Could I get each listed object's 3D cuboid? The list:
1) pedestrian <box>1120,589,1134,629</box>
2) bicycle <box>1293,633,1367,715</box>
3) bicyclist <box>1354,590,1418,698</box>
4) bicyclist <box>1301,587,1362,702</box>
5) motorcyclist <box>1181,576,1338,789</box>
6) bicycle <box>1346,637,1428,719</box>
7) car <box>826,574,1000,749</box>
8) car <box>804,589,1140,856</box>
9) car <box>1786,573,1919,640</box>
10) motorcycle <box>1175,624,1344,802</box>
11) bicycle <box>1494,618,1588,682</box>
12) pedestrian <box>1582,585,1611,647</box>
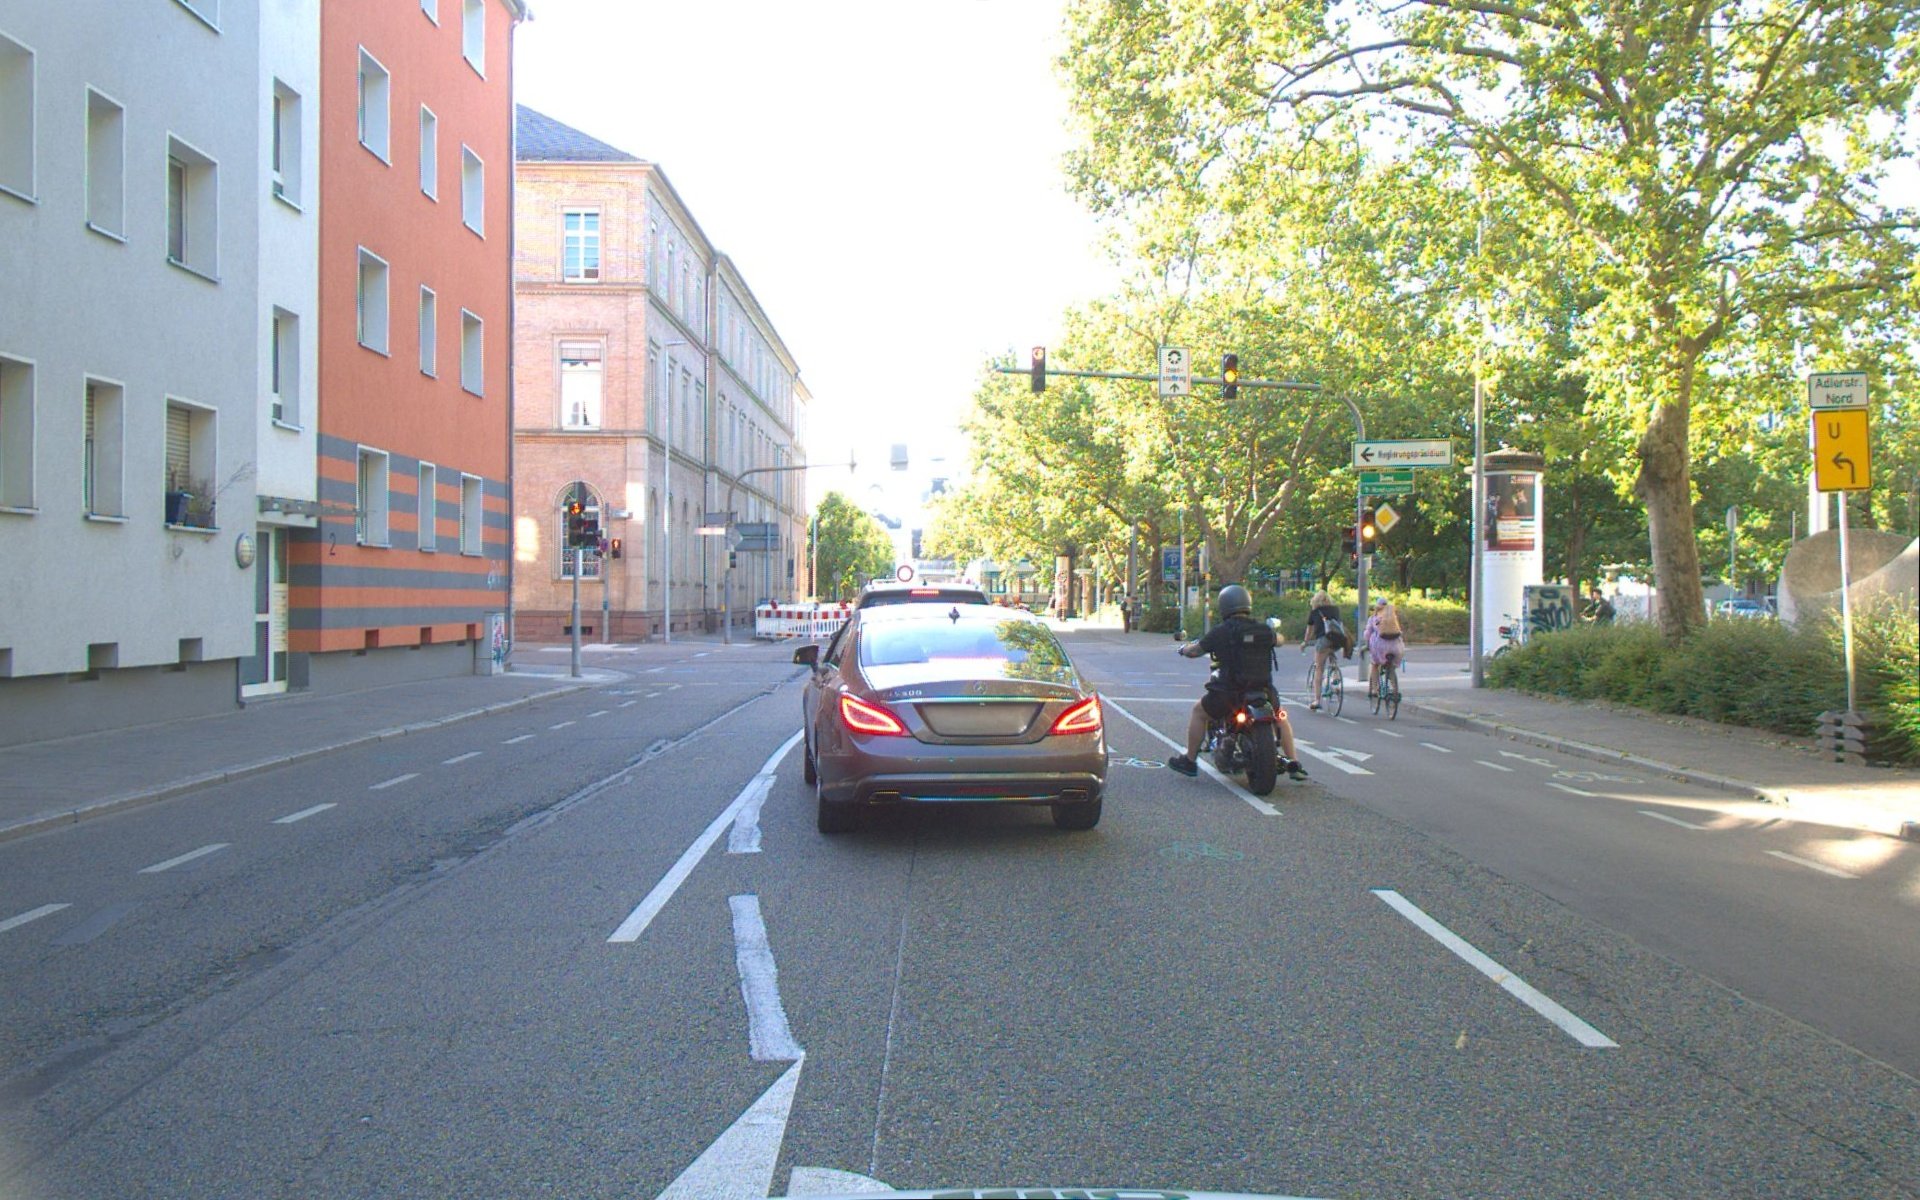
[{"bbox_3d":[7.146,0.379,70.827,0.548,1.707,0.564,0,0,-1],"label":"pedestrian"},{"bbox_3d":[5.115,1.006,22.947,0.598,1.044,1.731,2,0,-1],"label":"bicycle"},{"bbox_3d":[5.866,0.592,22.790,0.588,1.426,0.931,2,0,-1],"label":"bicyclist"},{"bbox_3d":[5.128,0.597,22.874,0.598,1.542,0.889,2,0,-1],"label":"bicyclist"},{"bbox_3d":[2.398,0.635,13.406,1.090,1.641,1.202,0,0,2],"label":"motorcyclist"},{"bbox_3d":[5.843,1.050,22.721,0.588,1.002,1.881,2,0,-1],"label":"bicycle"},{"bbox_3d":[-0.513,0.583,17.646,1.647,1.653,3.839,0,0,-2],"label":"car"},{"bbox_3d":[-0.124,0.689,11.601,1.787,1.502,4.346,0,0,-7],"label":"car"},{"bbox_3d":[25.645,0.182,46.451,3.912,1.815,2.001,0,0,4],"label":"car"},{"bbox_3d":[2.339,0.835,13.294,0.986,1.225,2.666,0,0,2],"label":"motorcycle"},{"bbox_3d":[9.700,0.832,27.614,1.387,1.055,0.538,0,0,-5],"label":"bicycle"},{"bbox_3d":[18.677,0.465,48.557,0.607,1.815,0.630,0,0,1],"label":"pedestrian"}]
